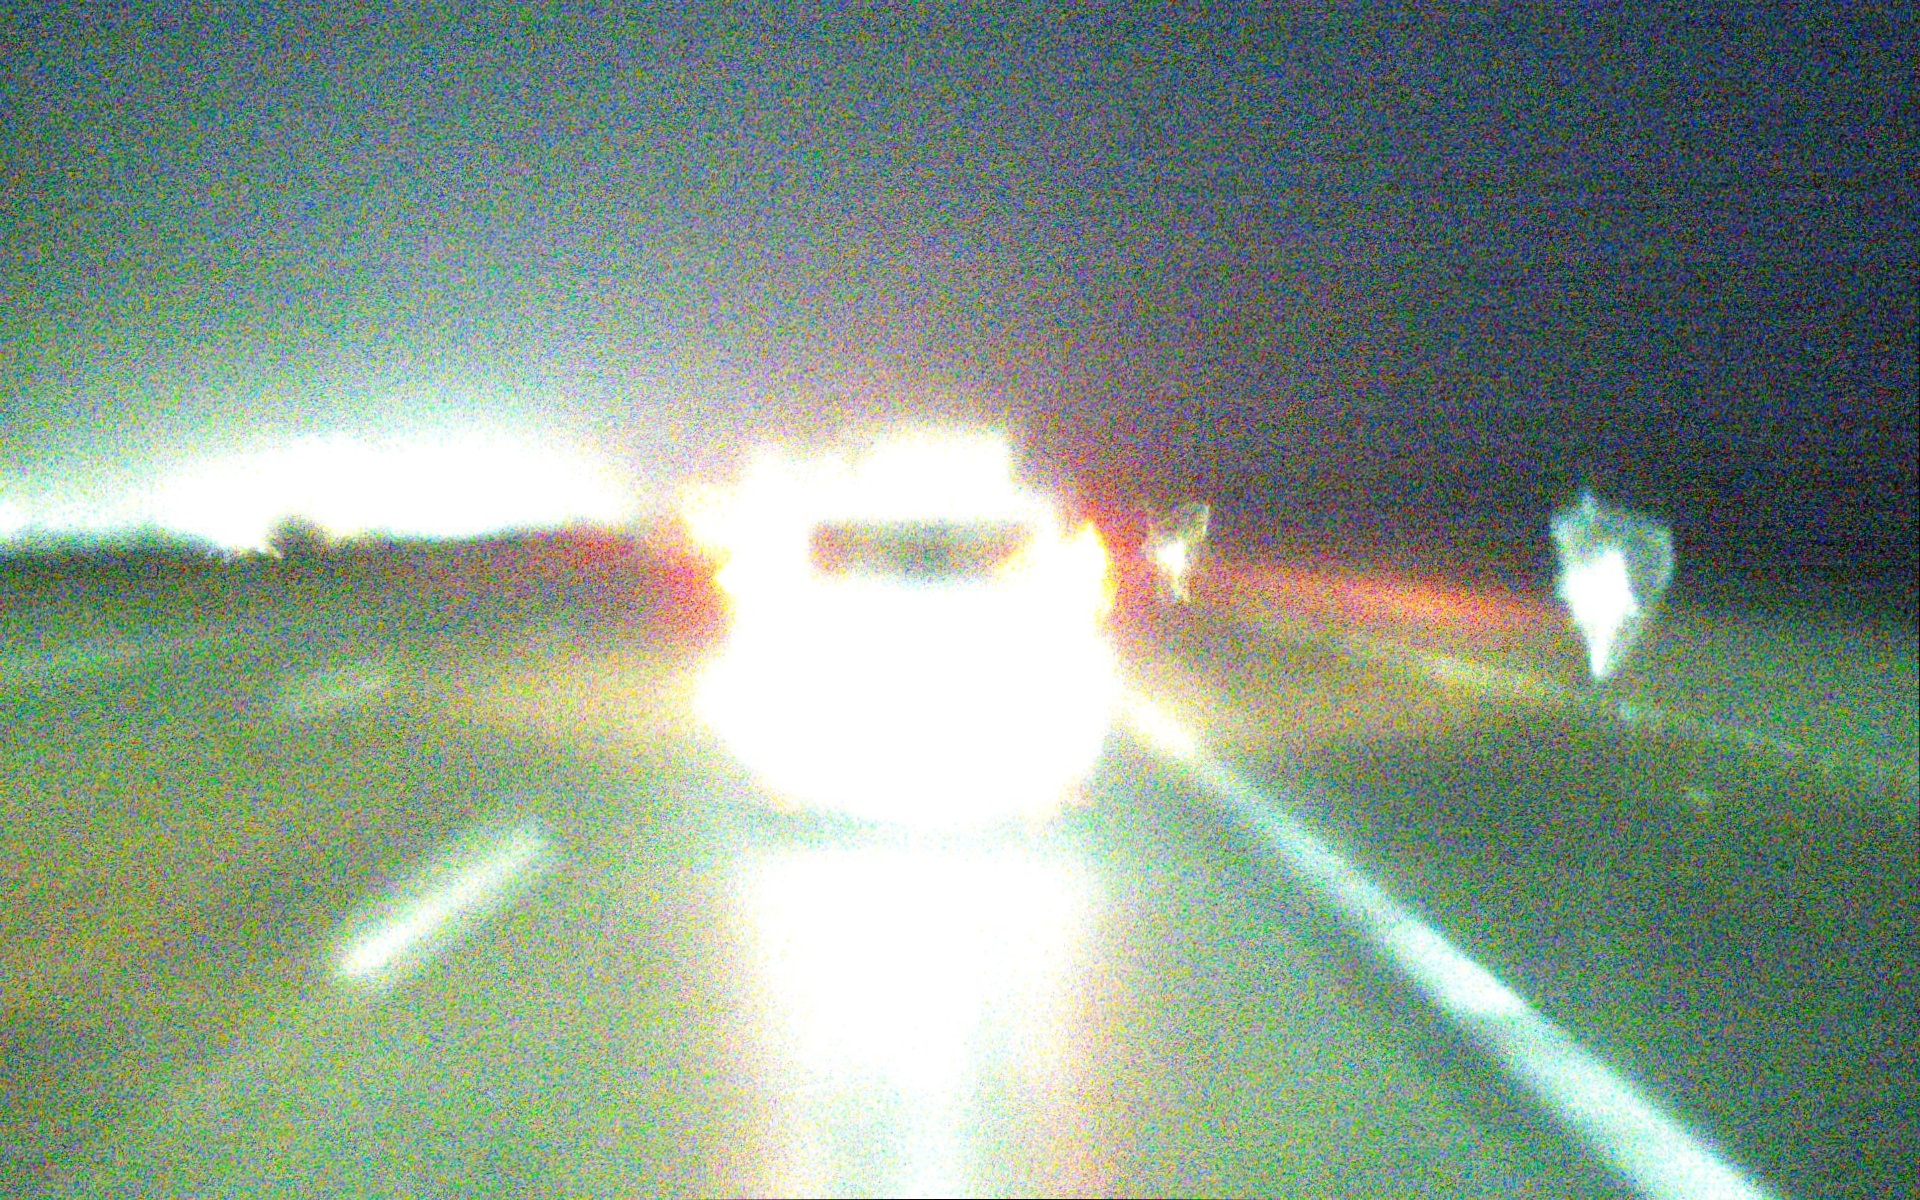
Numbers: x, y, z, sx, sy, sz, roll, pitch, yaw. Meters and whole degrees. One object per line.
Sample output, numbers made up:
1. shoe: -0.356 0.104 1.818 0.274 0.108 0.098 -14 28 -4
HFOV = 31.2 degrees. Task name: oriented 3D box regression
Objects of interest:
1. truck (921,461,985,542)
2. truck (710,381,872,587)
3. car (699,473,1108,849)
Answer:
1. truck: -0.504 -6.265 220.180 3.824 4.898 11.607 1 1 -1
2. truck: -4.768 -3.237 100.190 4.167 5.525 13.075 1 1 -1
3. car: -0.270 0.266 19.269 1.953 1.786 5.124 1 1 0
